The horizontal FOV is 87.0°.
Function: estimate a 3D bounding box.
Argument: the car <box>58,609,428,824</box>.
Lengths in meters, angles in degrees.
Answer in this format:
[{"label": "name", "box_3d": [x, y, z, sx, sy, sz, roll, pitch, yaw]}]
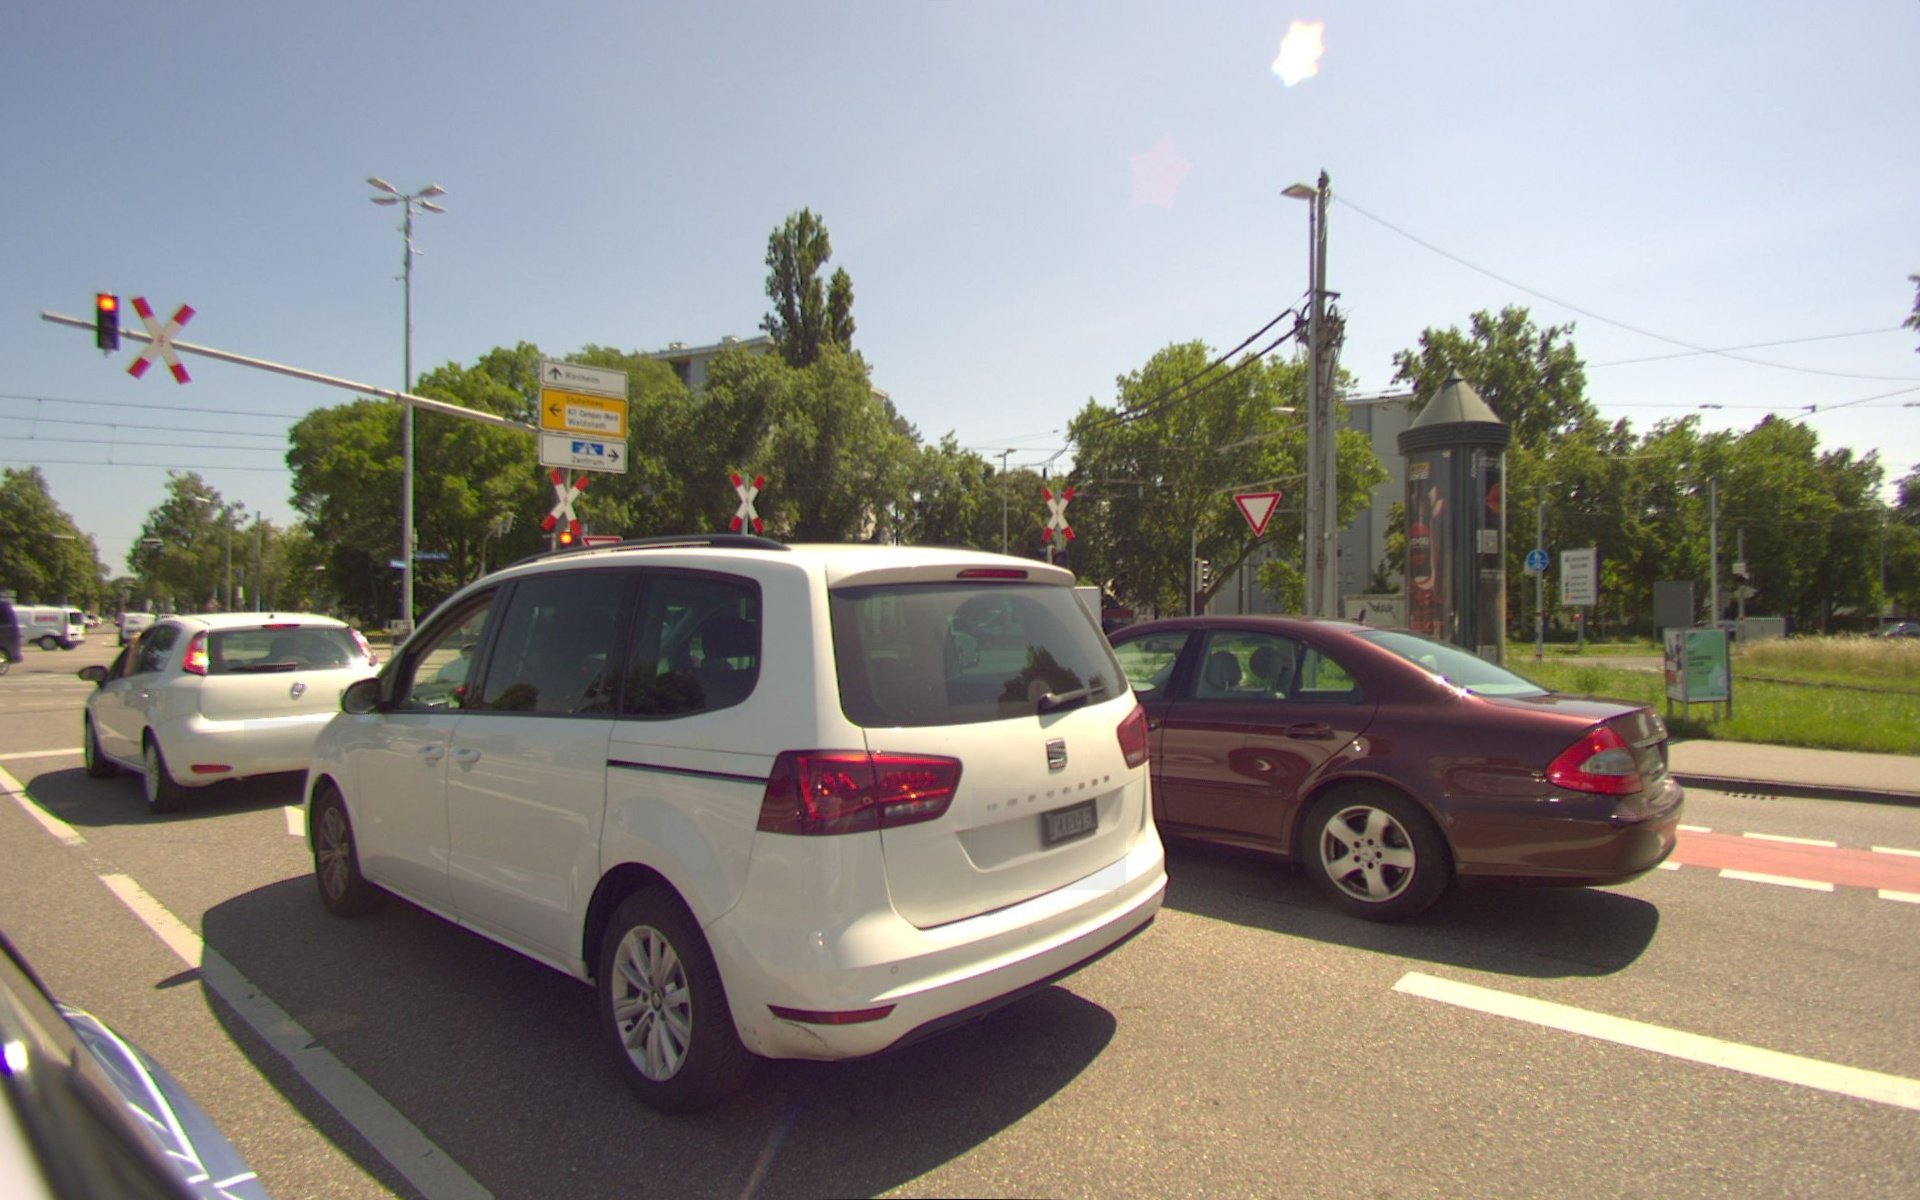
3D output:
[{"label": "car", "box_3d": [-6.428, 0.833, 8.911, 3.958, 1.448, 1.750, -1, 0, 41]}]

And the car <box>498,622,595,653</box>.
[{"label": "car", "box_3d": [-19.668, 1.796, 48.308, 4.142, 1.436, 1.855, 0, -2, -18]}]

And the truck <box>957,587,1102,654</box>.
[{"label": "truck", "box_3d": [3.844, 1.191, 56.369, 7.579, 3.560, 2.596, 0, -4, -18]}]

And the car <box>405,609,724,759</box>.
[{"label": "car", "box_3d": [-4.848, 0.878, 12.078, 4.412, 1.467, 1.772, -1, -2, 42]}]

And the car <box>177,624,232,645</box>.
[{"label": "car", "box_3d": [-60.847, 2.758, 81.514, 3.438, 1.566, 1.587, 0, -3, -41]}]

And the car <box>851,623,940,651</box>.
[{"label": "car", "box_3d": [-3.141, 1.799, 48.992, 3.931, 1.296, 1.752, 0, -4, -20]}]

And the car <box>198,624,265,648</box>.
[{"label": "car", "box_3d": [-47.268, 2.349, 65.697, 3.438, 1.439, 1.587, 0, -3, -41]}]

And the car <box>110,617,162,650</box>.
[{"label": "car", "box_3d": [-44.746, 1.834, 54.916, 1.784, 1.731, 4.346, 2, -3, -44]}]

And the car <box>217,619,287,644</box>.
[{"label": "car", "box_3d": [-44.438, 1.967, 63.533, 3.440, 1.439, 1.586, 0, -3, -44]}]

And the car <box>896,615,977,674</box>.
[{"label": "car", "box_3d": [-0.605, 1.318, 29.229, 1.726, 1.558, 4.247, -1, -3, 7]}]

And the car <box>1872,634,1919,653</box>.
[{"label": "car", "box_3d": [66.523, 3.072, 71.442, 3.582, 1.296, 1.610, 0, -4, -20]}]

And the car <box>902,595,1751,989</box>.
[{"label": "car", "box_3d": [1.805, 0.764, 5.850, 4.283, 1.468, 1.742, -1, -2, 41]}]

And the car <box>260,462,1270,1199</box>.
[{"label": "car", "box_3d": [-1.326, 0.621, 4.446, 4.829, 1.736, 1.792, -1, -1, 42]}]

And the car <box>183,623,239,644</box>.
[{"label": "car", "box_3d": [-59.249, 2.648, 80.099, 3.438, 1.566, 1.587, 0, -3, -41]}]

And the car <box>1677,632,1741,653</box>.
[{"label": "car", "box_3d": [49.483, 2.797, 66.844, 3.582, 1.296, 1.610, 0, -4, -20]}]

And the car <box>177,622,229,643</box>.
[{"label": "car", "box_3d": [-64.111, 2.757, 85.694, 3.438, 1.591, 1.587, 0, -3, -41]}]

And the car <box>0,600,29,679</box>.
[{"label": "car", "box_3d": [-24.533, 0.954, 23.324, 1.913, 1.946, 4.850, -1, -2, -4]}]

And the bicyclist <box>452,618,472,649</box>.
[{"label": "bicyclist", "box_3d": [-24.511, 1.649, 49.831, 0.626, 1.479, 0.610, 2, 0, 27]}]

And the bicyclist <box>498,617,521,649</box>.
[{"label": "bicyclist", "box_3d": [-22.736, 1.669, 51.060, 0.905, 1.556, 0.642, 2, 1, 27]}]

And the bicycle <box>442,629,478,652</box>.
[{"label": "bicycle", "box_3d": [-24.656, 1.993, 49.904, 1.797, 1.071, 0.610, 0, 0, 27]}]

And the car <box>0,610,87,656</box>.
[{"label": "car", "box_3d": [-38.767, 1.360, 41.320, 4.317, 1.807, 1.902, 0, -4, -19]}]

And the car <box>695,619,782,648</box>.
[{"label": "car", "box_3d": [-11.122, 1.690, 50.780, 4.142, 1.436, 1.854, 0, -2, -17]}]

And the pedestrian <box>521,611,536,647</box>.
[{"label": "pedestrian", "box_3d": [-22.271, 1.477, 52.264, 0.667, 1.849, 0.610, 1, -1, -20]}]

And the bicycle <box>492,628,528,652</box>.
[{"label": "bicycle", "box_3d": [-22.705, 2.014, 51.054, 1.797, 1.071, 0.610, 2, 1, 27]}]
